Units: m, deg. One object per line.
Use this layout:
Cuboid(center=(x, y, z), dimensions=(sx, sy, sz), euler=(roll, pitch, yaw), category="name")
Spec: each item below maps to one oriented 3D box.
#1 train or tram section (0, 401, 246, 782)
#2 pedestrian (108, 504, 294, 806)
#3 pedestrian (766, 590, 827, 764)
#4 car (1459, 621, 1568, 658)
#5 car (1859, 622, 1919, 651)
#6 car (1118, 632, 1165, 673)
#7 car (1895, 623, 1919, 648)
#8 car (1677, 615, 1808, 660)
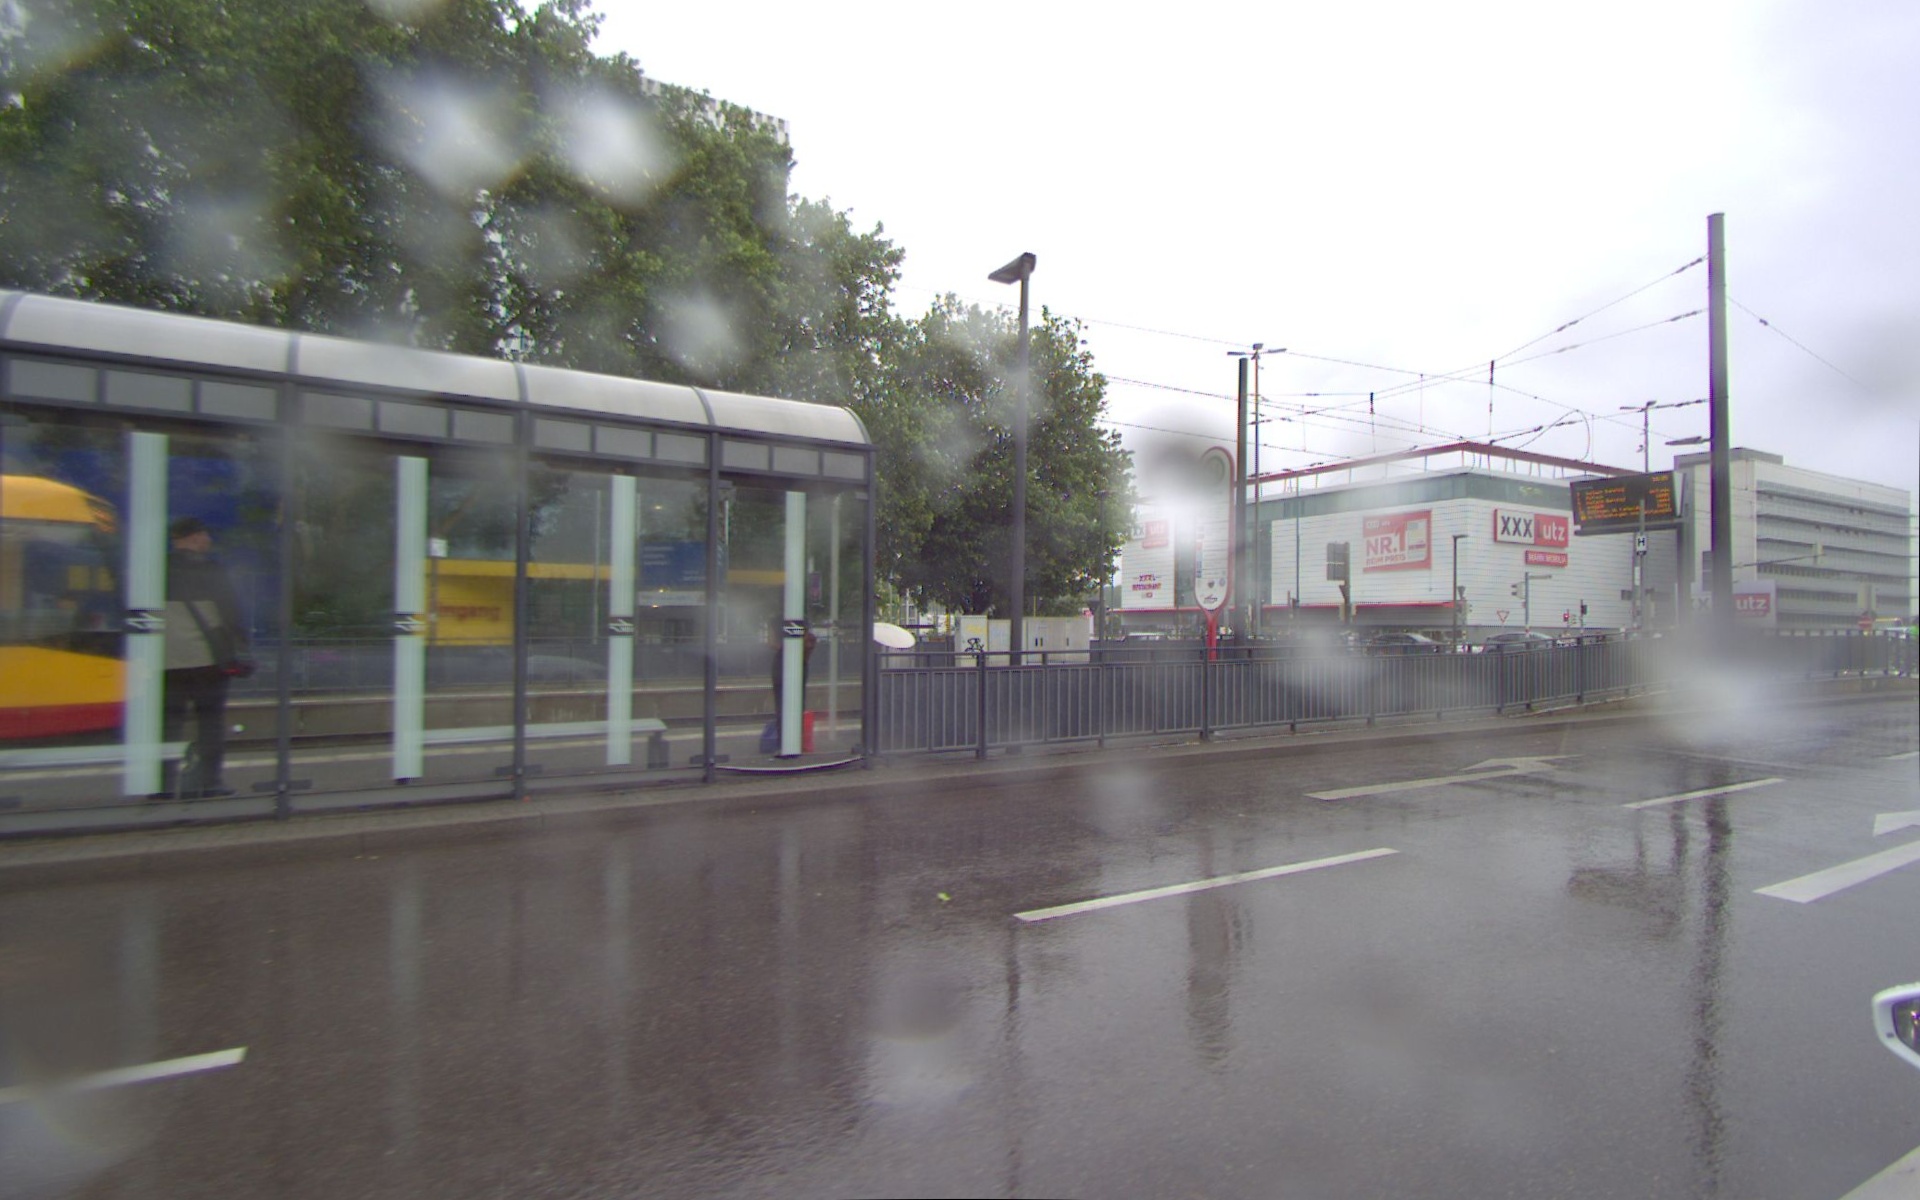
Cuboid(center=(-14.818, -0.229, 9.260), dimensions=(13.110, 3.890, 3.720), euler=(2, 0, -32), category="train or tram section")
Cuboid(center=(-5.032, 0.354, 6.709), dimensions=(0.759, 1.896, 0.655), euler=(2, 0, -15), category="pedestrian")
Cuboid(center=(-1.457, 0.677, 8.957), dimensions=(0.410, 1.513, 0.320), euler=(2, 0, -26), category="pedestrian")
Cuboid(center=(26.090, 1.842, 47.449), dimensions=(1.699, 1.470, 4.160), euler=(3, 0, -33), category="car")
Cuboid(center=(52.746, 2.081, 56.854), dimensions=(3.766, 1.445, 1.701), euler=(3, 0, -31), category="car")
Cuboid(center=(7.449, 2.099, 41.103), dimensions=(1.553, 1.483, 3.431), euler=(2, 0, 15), category="car")
Cuboid(center=(57.668, 2.175, 60.002), dimensions=(3.766, 1.445, 1.701), euler=(3, 0, -31), category="car")
Cuboid(center=(34.326, 1.615, 44.145), dimensions=(4.397, 1.684, 1.945), euler=(3, 0, 40), category="car")
